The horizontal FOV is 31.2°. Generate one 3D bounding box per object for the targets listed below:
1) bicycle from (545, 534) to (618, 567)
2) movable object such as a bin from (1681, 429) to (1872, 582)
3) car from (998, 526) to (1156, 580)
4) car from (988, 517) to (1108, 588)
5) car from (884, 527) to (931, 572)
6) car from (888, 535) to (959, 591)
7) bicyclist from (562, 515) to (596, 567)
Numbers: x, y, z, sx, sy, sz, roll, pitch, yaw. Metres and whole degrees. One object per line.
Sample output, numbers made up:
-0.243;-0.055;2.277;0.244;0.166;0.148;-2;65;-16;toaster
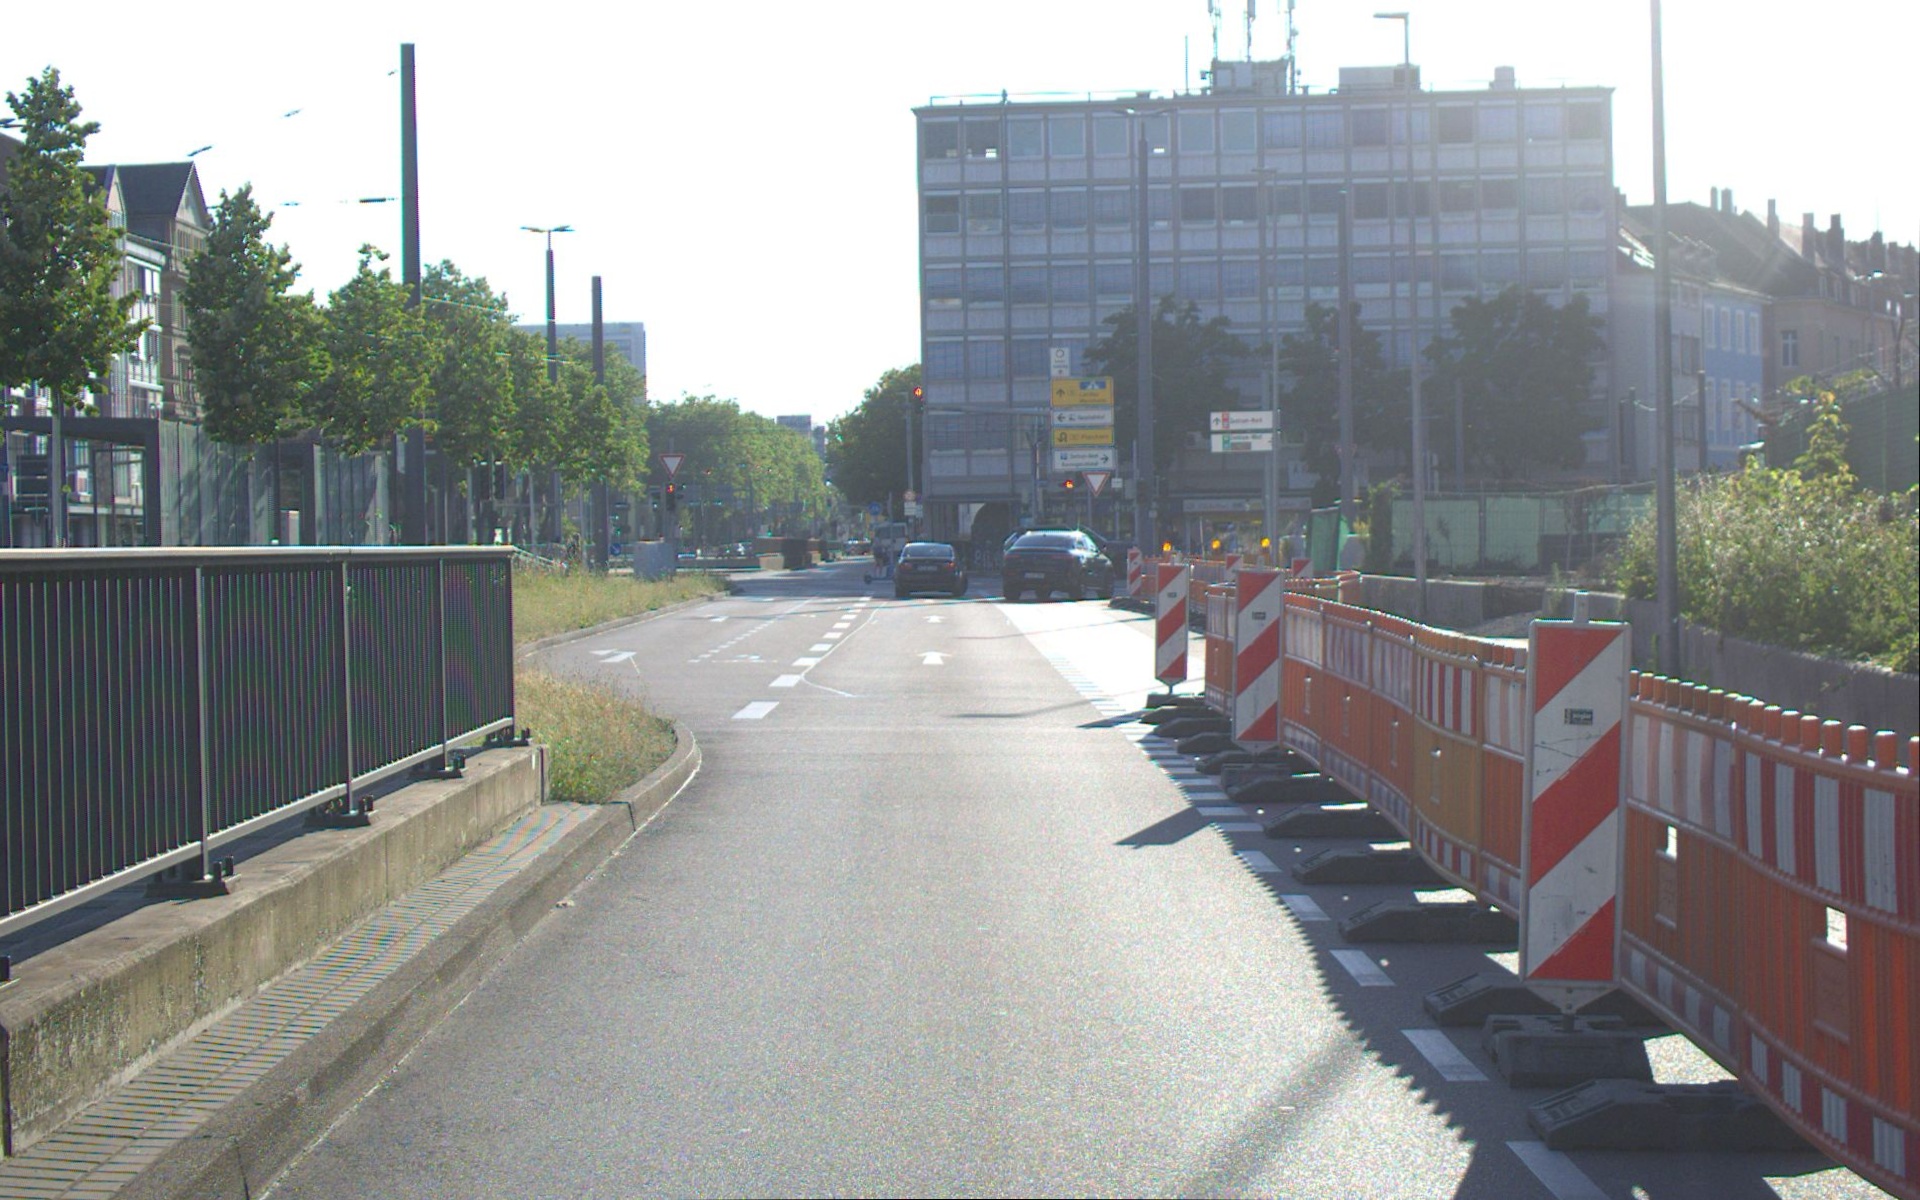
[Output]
-12.090;-1.572;109.846;2.226;1.023;0.682;0;1;3;bicycle
15.181;-1.746;64.175;2.275;2.694;4.943;-1;1;-1;movable object such as a bin
3.778;-1.523;110.783;4.820;1.744;1.999;0;1;11;car
2.255;-1.224;86.720;1.995;1.687;3.997;1;2;17;car
-2.997;-2.838;194.397;2.486;2.384;5.935;-3;1;-1;car
-0.970;-0.984;90.018;1.743;1.421;4.001;-1;1;-2;car
-12.162;-1.896;109.843;0.959;1.656;0.691;0;1;3;bicyclist
